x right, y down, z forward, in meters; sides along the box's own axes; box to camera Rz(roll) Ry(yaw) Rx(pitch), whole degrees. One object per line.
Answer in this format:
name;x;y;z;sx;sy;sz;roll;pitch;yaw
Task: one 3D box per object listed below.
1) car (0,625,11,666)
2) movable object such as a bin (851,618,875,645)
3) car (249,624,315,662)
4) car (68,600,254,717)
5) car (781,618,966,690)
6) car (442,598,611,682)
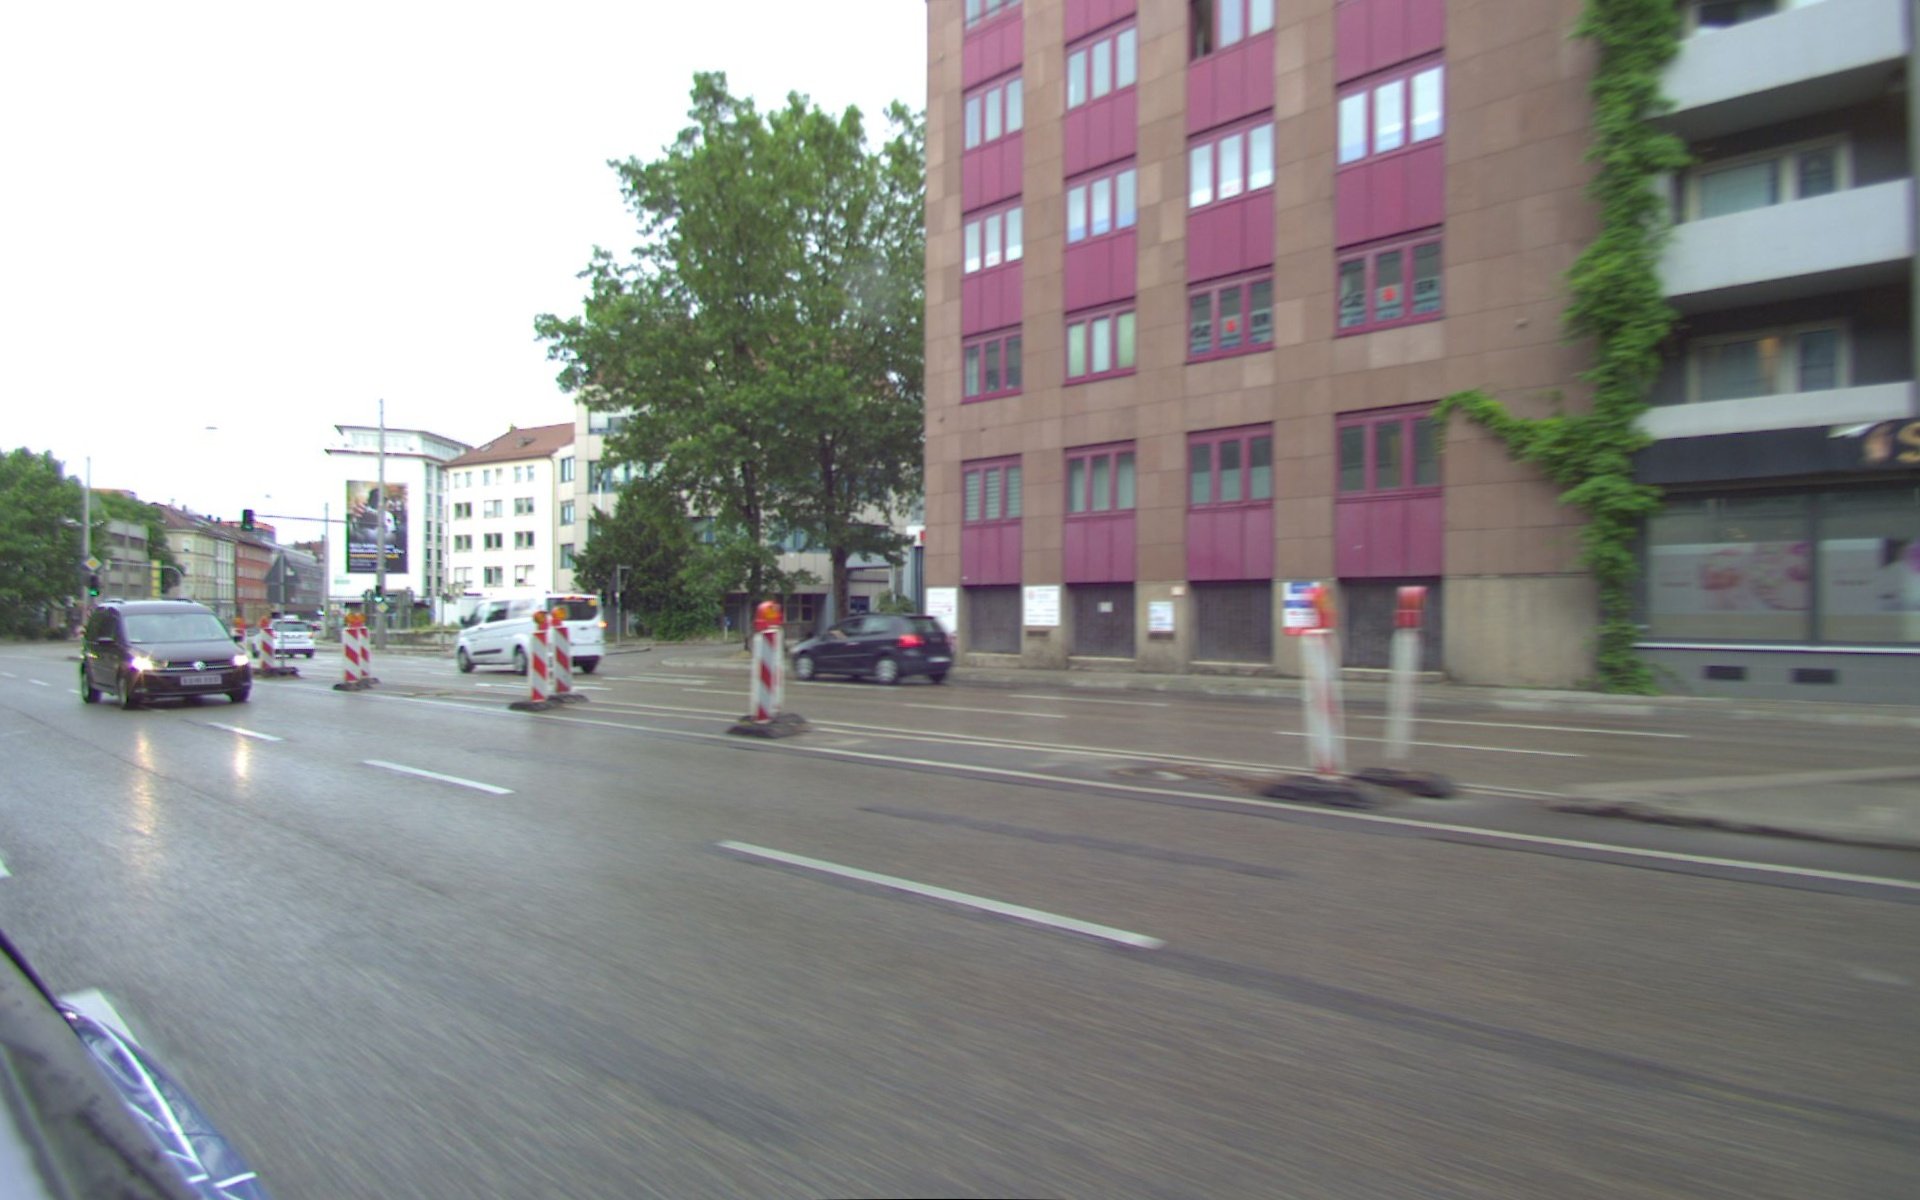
car;-39.525;1.798;40.587;3.999;1.588;1.823;-1;-2;42
movable object such as a bin;-3.575;1.161;37.316;0.861;1.003;0.790;0;-1;-5
car;-27.380;1.741;40.867;2.948;1.496;1.539;-3;-3;42
car;-14.137;0.967;17.831;4.122;1.813;1.773;-2;-1;40
car;-1.935;1.110;21.888;4.018;1.410;1.681;-1;-2;41
car;-11.426;1.000;26.504;5.286;2.005;1.973;-1;-2;41
